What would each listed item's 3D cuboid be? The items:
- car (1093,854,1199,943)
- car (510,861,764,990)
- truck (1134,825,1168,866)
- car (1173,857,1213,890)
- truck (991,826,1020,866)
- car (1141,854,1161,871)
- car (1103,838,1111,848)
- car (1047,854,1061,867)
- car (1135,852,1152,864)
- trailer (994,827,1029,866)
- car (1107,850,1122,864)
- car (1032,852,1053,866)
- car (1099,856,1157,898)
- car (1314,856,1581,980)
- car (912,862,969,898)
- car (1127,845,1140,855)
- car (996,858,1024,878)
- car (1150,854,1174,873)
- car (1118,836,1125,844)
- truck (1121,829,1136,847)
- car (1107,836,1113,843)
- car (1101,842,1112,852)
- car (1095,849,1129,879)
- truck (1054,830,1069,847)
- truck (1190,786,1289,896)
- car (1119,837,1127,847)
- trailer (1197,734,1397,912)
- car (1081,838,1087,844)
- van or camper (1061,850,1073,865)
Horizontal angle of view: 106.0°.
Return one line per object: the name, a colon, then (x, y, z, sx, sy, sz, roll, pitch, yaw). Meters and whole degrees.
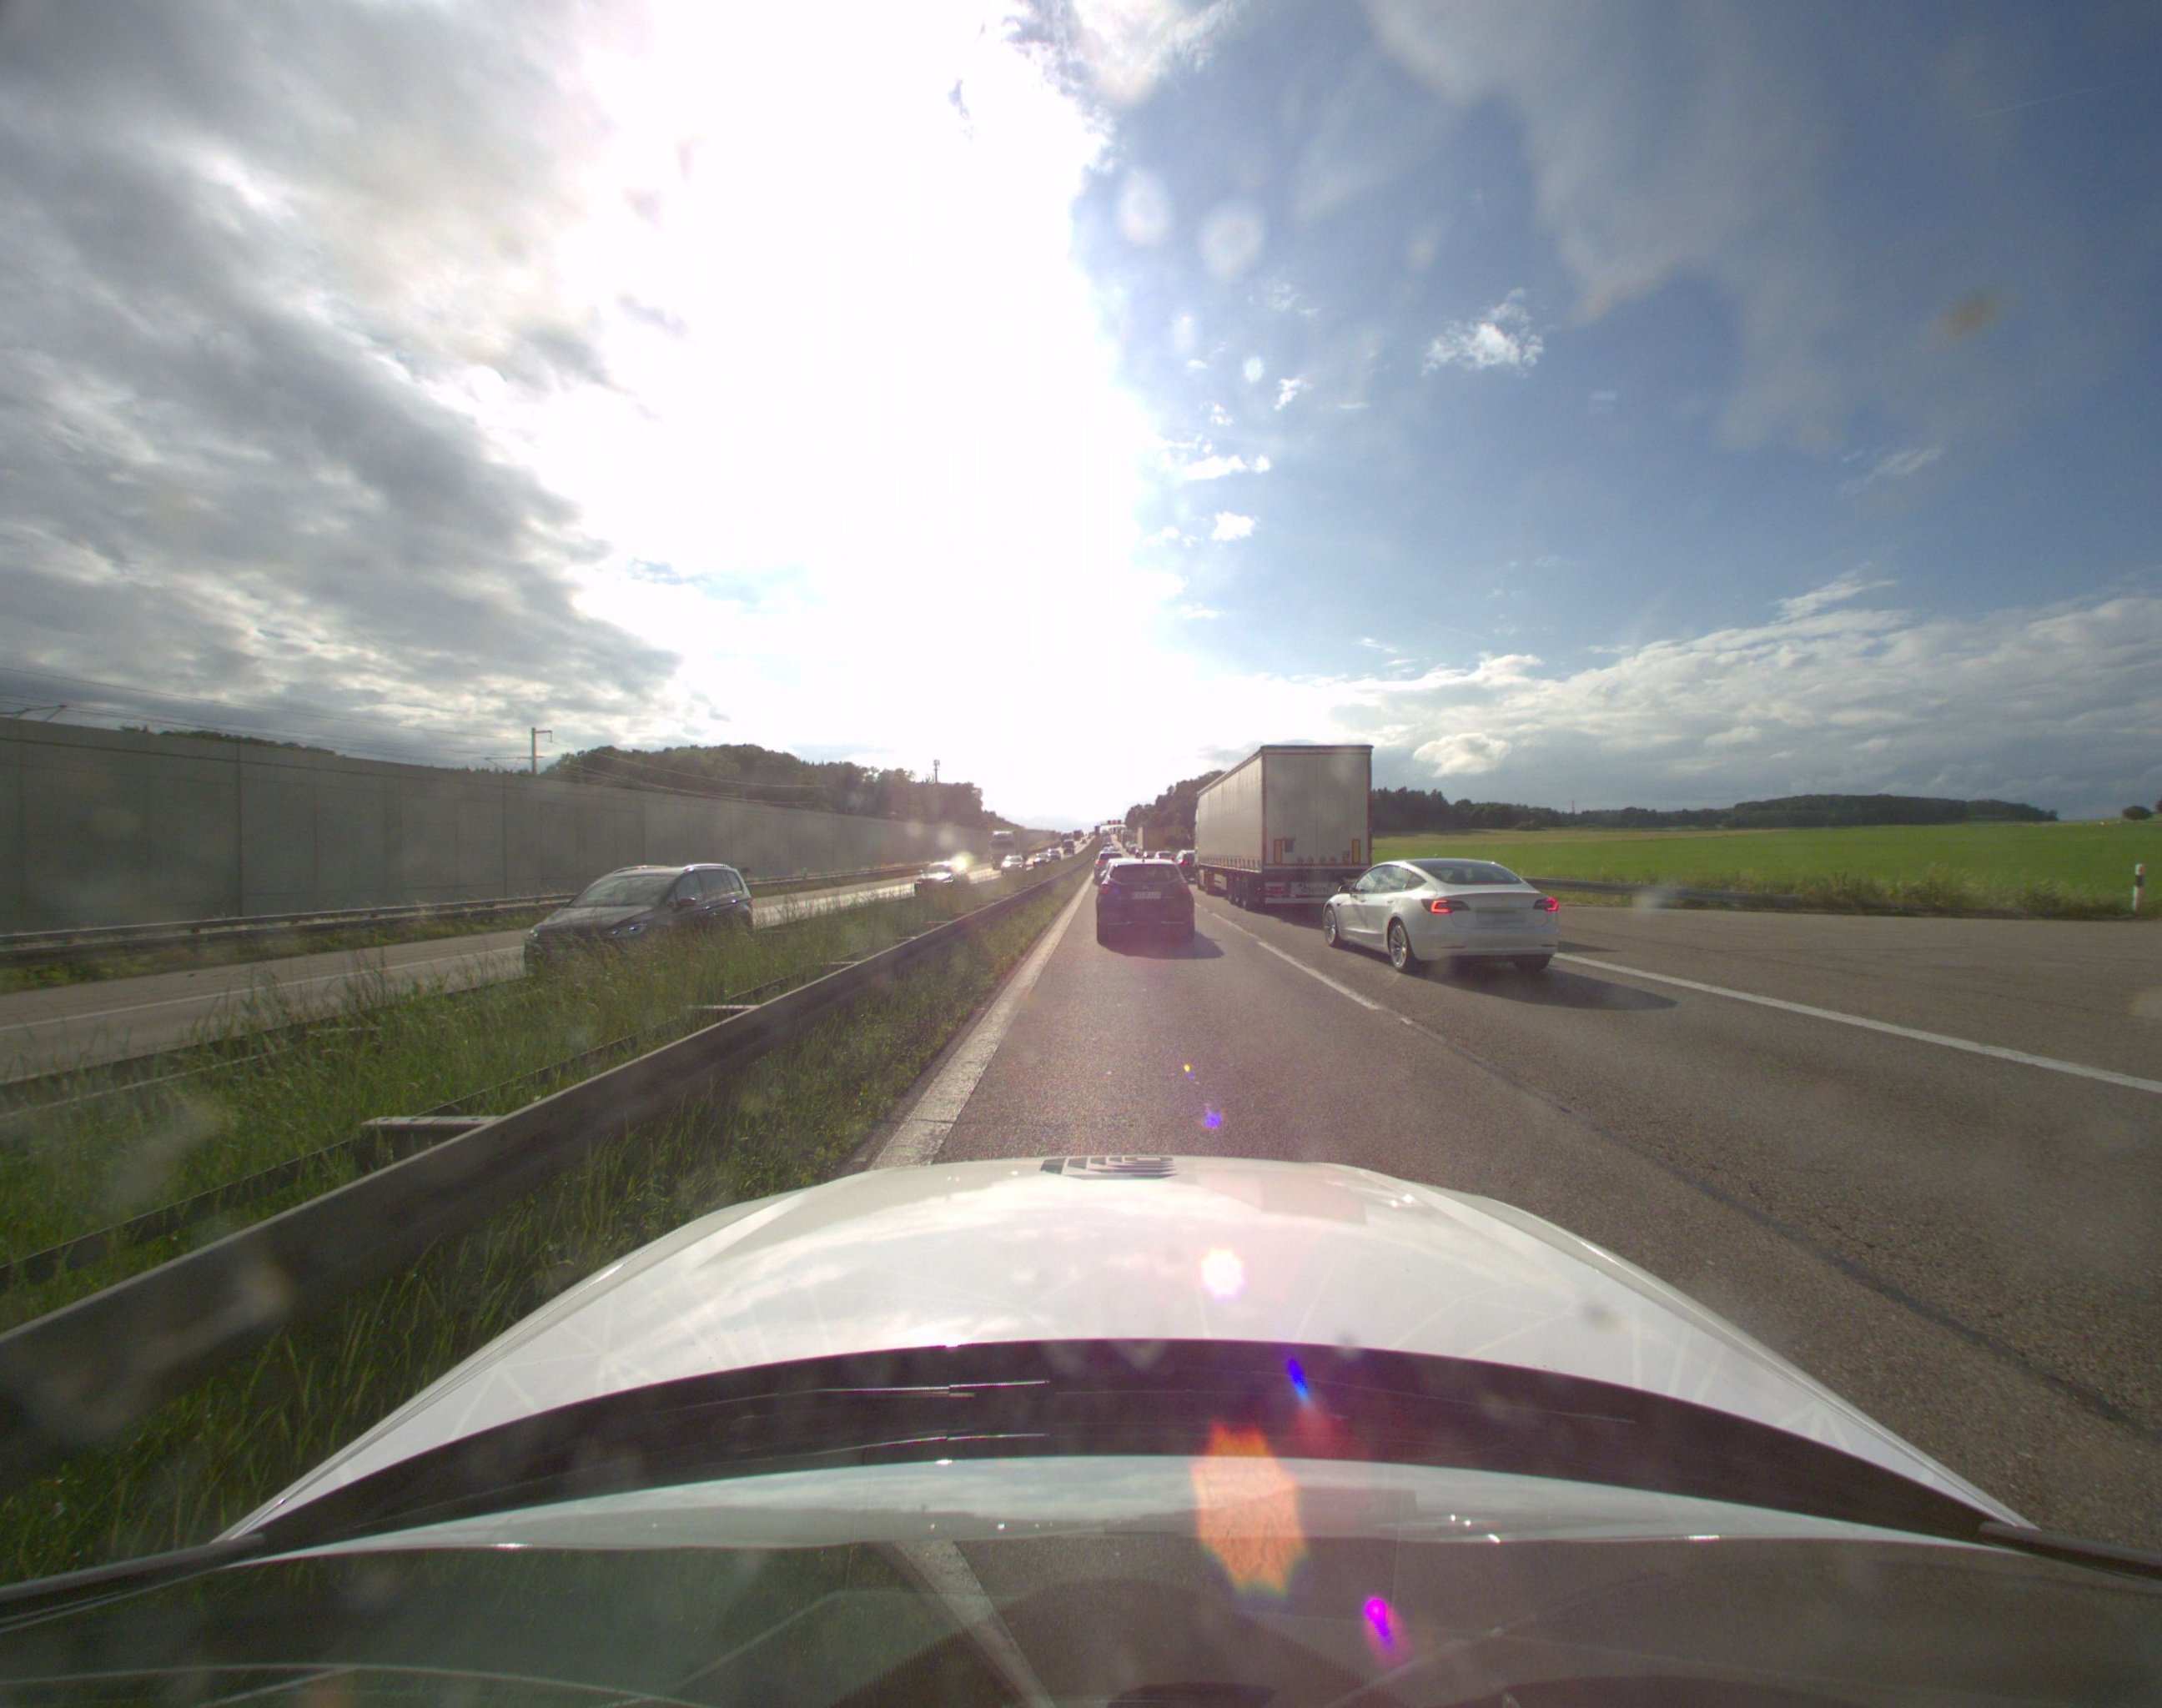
car: (1.174, 0.769, 15.877, 1.766, 1.451, 4.234, -1, 0, 2)
car: (-6.965, 1.015, 13.352, 1.774, 1.737, 4.104, -1, -1, 2)
truck: (8.356, -0.902, 98.774, 3.285, 4.577, 12.440, 0, -1, 1)
car: (5.790, 0.986, 42.624, 1.690, 1.611, 4.440, -1, 0, 3)
truck: (-8.348, -0.839, 90.203, 2.371, 4.181, 5.934, -2, -1, 2)
car: (7.363, 0.879, 85.872, 1.866, 1.644, 4.234, -1, 0, 2)
car: (6.103, -2.645, 189.344, 1.866, 2.158, 5.214, -1, 2, 2)
car: (-3.656, 0.881, 112.349, 1.702, 1.706, 4.174, -1, -1, 1)
car: (8.413, 0.527, 110.072, 1.867, 1.644, 4.231, -1, 0, 0)
trailer: (-8.100, -0.793, 96.187, 2.380, 4.182, 13.210, -2, -1, 2)
car: (4.273, 0.316, 105.172, 1.866, 1.644, 4.235, -1, 1, 2)
car: (-4.024, 0.511, 85.753, 1.735, 1.358, 4.234, -1, 0, 2)
car: (1.613, 0.767, 28.920, 1.866, 1.358, 4.234, -1, 0, 2)
car: (4.857, 0.742, 11.590, 1.783, 1.394, 4.436, -1, 0, 0)
car: (-6.391, 1.144, 37.500, 1.691, 1.499, 4.428, -1, -1, 1)
car: (9.031, -0.644, 140.908, 1.868, 1.644, 4.230, -1, 1, -1)
car: (-5.720, 1.131, 65.909, 1.762, 1.479, 3.831, -2, -1, 2)
car: (7.487, 0.856, 75.705, 1.866, 1.644, 4.234, -1, -1, 2)
car: (12.622, -4.326, 253.029, 1.866, 2.158, 5.214, -1, 2, 2)
truck: (13.002, -4.360, 223.990, 3.452, 4.577, 12.442, 0, 1, 1)
car: (8.926, -4.463, 250.197, 1.866, 2.158, 5.214, -1, 2, 2)
car: (4.598, -1.228, 145.105, 1.867, 1.644, 4.233, -1, 1, 1)
car: (1.825, 0.582, 47.615, 1.866, 1.644, 4.234, -1, 0, 2)
truck: (-5.165, -4.123, 221.298, 3.284, 4.577, 12.445, -1, 0, 2)
truck: (6.166, -0.429, 32.518, 3.121, 4.016, 5.166, -1, -1, 2)
car: (10.131, -2.897, 198.108, 1.866, 2.158, 5.214, -1, 2, 2)
trailer: (5.824, -0.562, 25.110, 3.118, 4.011, 13.373, -1, -1, 2)
car: (0.907, -4.058, 251.235, 1.738, 1.705, 4.232, -6, 0, 0)
van or camper: (-2.660, 0.689, 156.065, 2.082, 2.819, 5.897, 0, -1, 2)
